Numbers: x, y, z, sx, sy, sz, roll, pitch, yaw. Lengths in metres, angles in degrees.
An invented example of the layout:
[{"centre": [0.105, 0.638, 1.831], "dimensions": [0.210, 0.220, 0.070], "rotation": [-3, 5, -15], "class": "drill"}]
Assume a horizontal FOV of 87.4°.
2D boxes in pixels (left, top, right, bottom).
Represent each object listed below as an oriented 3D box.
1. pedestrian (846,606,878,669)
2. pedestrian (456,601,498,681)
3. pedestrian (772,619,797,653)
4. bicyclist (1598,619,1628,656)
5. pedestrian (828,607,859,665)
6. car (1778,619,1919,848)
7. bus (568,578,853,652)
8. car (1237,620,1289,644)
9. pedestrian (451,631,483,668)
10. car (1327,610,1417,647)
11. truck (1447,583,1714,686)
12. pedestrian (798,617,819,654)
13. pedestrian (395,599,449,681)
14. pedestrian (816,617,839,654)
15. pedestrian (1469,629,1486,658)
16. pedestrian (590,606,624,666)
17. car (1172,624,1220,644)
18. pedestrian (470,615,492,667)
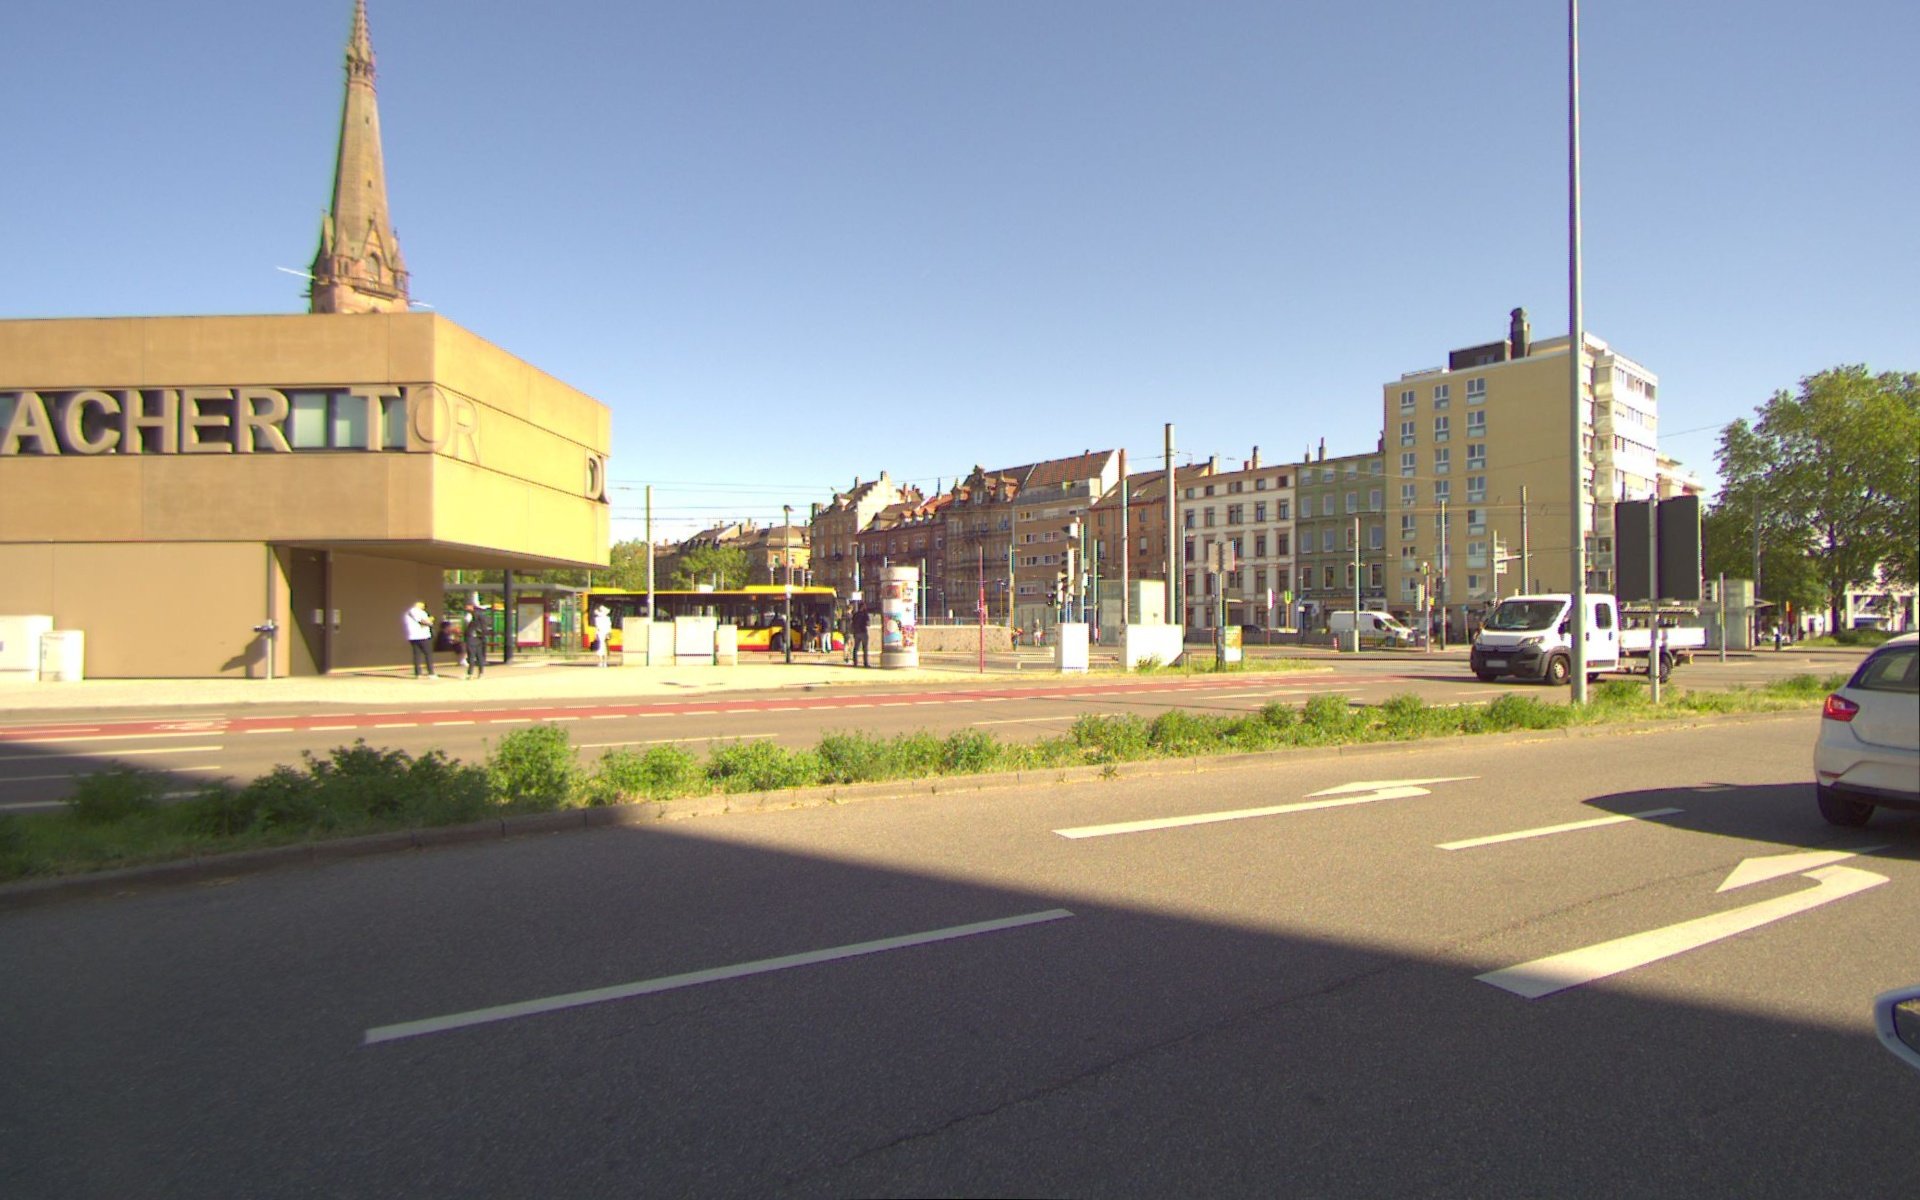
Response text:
[{"centre": [-2.822, 1.060, 29.048], "dimensions": [0.634, 1.765, 0.790], "rotation": [2, 1, 16], "class": "pedestrian"}, {"centre": [-10.886, 0.926, 22.648], "dimensions": [0.738, 1.746, 0.639], "rotation": [3, -2, -24], "class": "pedestrian"}, {"centre": [-7.371, 1.523, 42.196], "dimensions": [0.786, 1.412, 0.639], "rotation": [0, -1, 31], "class": "pedestrian"}, {"centre": [25.832, 1.479, 39.751], "dimensions": [0.635, 1.463, 0.771], "rotation": [1, -1, -26], "class": "bicyclist"}, {"centre": [-3.574, 1.100, 30.948], "dimensions": [0.634, 1.746, 0.791], "rotation": [2, -1, 16], "class": "pedestrian"}, {"centre": [7.822, 0.896, 7.317], "dimensions": [3.692, 1.455, 1.683], "rotation": [1, 0, -30], "class": "car"}, {"centre": [-11.259, 0.716, 46.027], "dimensions": [12.335, 3.258, 2.975], "rotation": [0, -1, 4], "class": "bus"}, {"centre": [26.629, 2.774, 88.267], "dimensions": [1.983, 2.040, 3.954], "rotation": [-2, 0, -40], "class": "car"}, {"centre": [-13.766, 1.379, 28.043], "dimensions": [0.563, 0.979, 0.509], "rotation": [2, -1, 9], "class": "pedestrian"}, {"centre": [27.907, 1.920, 68.191], "dimensions": [1.984, 2.443, 5.439], "rotation": [1, -1, -41], "class": "car"}, {"centre": [15.715, 0.855, 25.372], "dimensions": [6.784, 2.344, 2.210], "rotation": [1, -1, -23], "class": "truck"}, {"centre": [-6.588, 1.538, 43.718], "dimensions": [0.627, 1.556, 0.800], "rotation": [0, -1, 16], "class": "pedestrian"}, {"centre": [-11.855, 0.884, 22.163], "dimensions": [0.584, 1.746, 0.791], "rotation": [2, -1, 16], "class": "pedestrian"}, {"centre": [-5.702, 1.513, 43.233], "dimensions": [0.627, 1.556, 0.964], "rotation": [0, -1, 16], "class": "pedestrian"}, {"centre": [26.317, 2.220, 51.065], "dimensions": [0.564, 1.427, 0.588], "rotation": [-2, 1, -40], "class": "pedestrian"}, {"centre": [-10.551, 1.088, 30.062], "dimensions": [0.634, 1.746, 0.791], "rotation": [2, -1, 4], "class": "pedestrian"}, {"centre": [21.916, 3.135, 93.373], "dimensions": [1.983, 1.795, 3.954], "rotation": [-2, 0, -39], "class": "car"}, {"centre": [-14.614, 1.241, 30.643], "dimensions": [0.503, 1.529, 0.743], "rotation": [3, -2, -29], "class": "pedestrian"}]
